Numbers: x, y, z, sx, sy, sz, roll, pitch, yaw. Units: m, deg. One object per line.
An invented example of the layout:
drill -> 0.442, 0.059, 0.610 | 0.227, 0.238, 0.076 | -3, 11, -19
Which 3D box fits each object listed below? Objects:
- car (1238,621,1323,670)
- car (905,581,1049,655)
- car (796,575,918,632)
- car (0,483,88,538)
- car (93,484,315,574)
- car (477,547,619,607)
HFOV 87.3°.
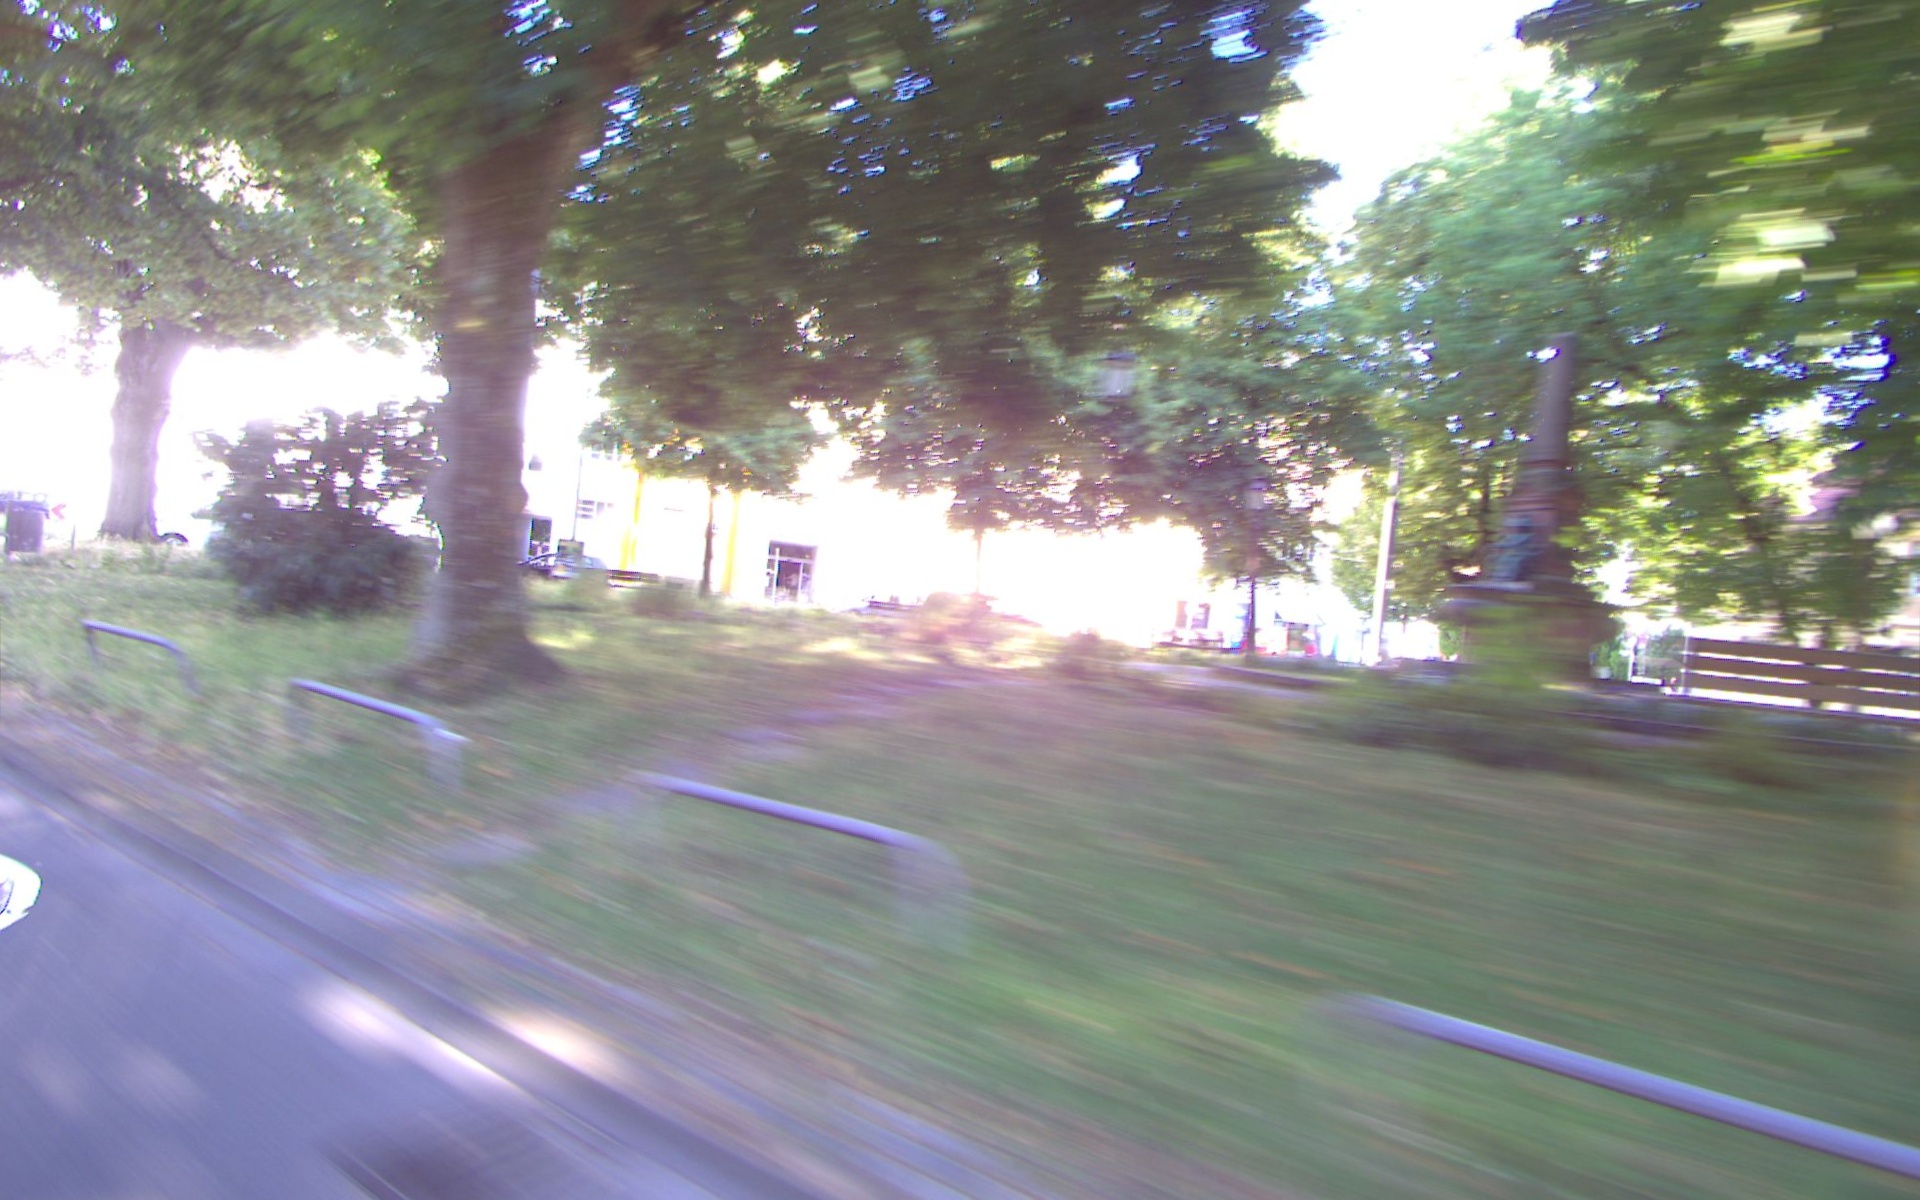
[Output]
car -> 16.189, 2.271, 51.057 | 1.970, 1.945, 4.056 | 7, 0, -17
car -> 0.491, 0.556, 31.040 | 3.937, 1.815, 1.995 | 6, -1, -15
car -> -3.794, 0.108, 36.836 | 4.011, 1.538, 1.992 | 7, 0, -17
car -> -36.985, -3.609, 39.072 | 4.145, 1.770, 1.993 | 7, 0, -16
car -> -22.229, -2.045, 29.861 | 4.844, 1.877, 1.986 | 7, 0, -27
car -> -13.847, -0.761, 34.054 | 4.006, 1.462, 1.995 | 7, 0, -13
